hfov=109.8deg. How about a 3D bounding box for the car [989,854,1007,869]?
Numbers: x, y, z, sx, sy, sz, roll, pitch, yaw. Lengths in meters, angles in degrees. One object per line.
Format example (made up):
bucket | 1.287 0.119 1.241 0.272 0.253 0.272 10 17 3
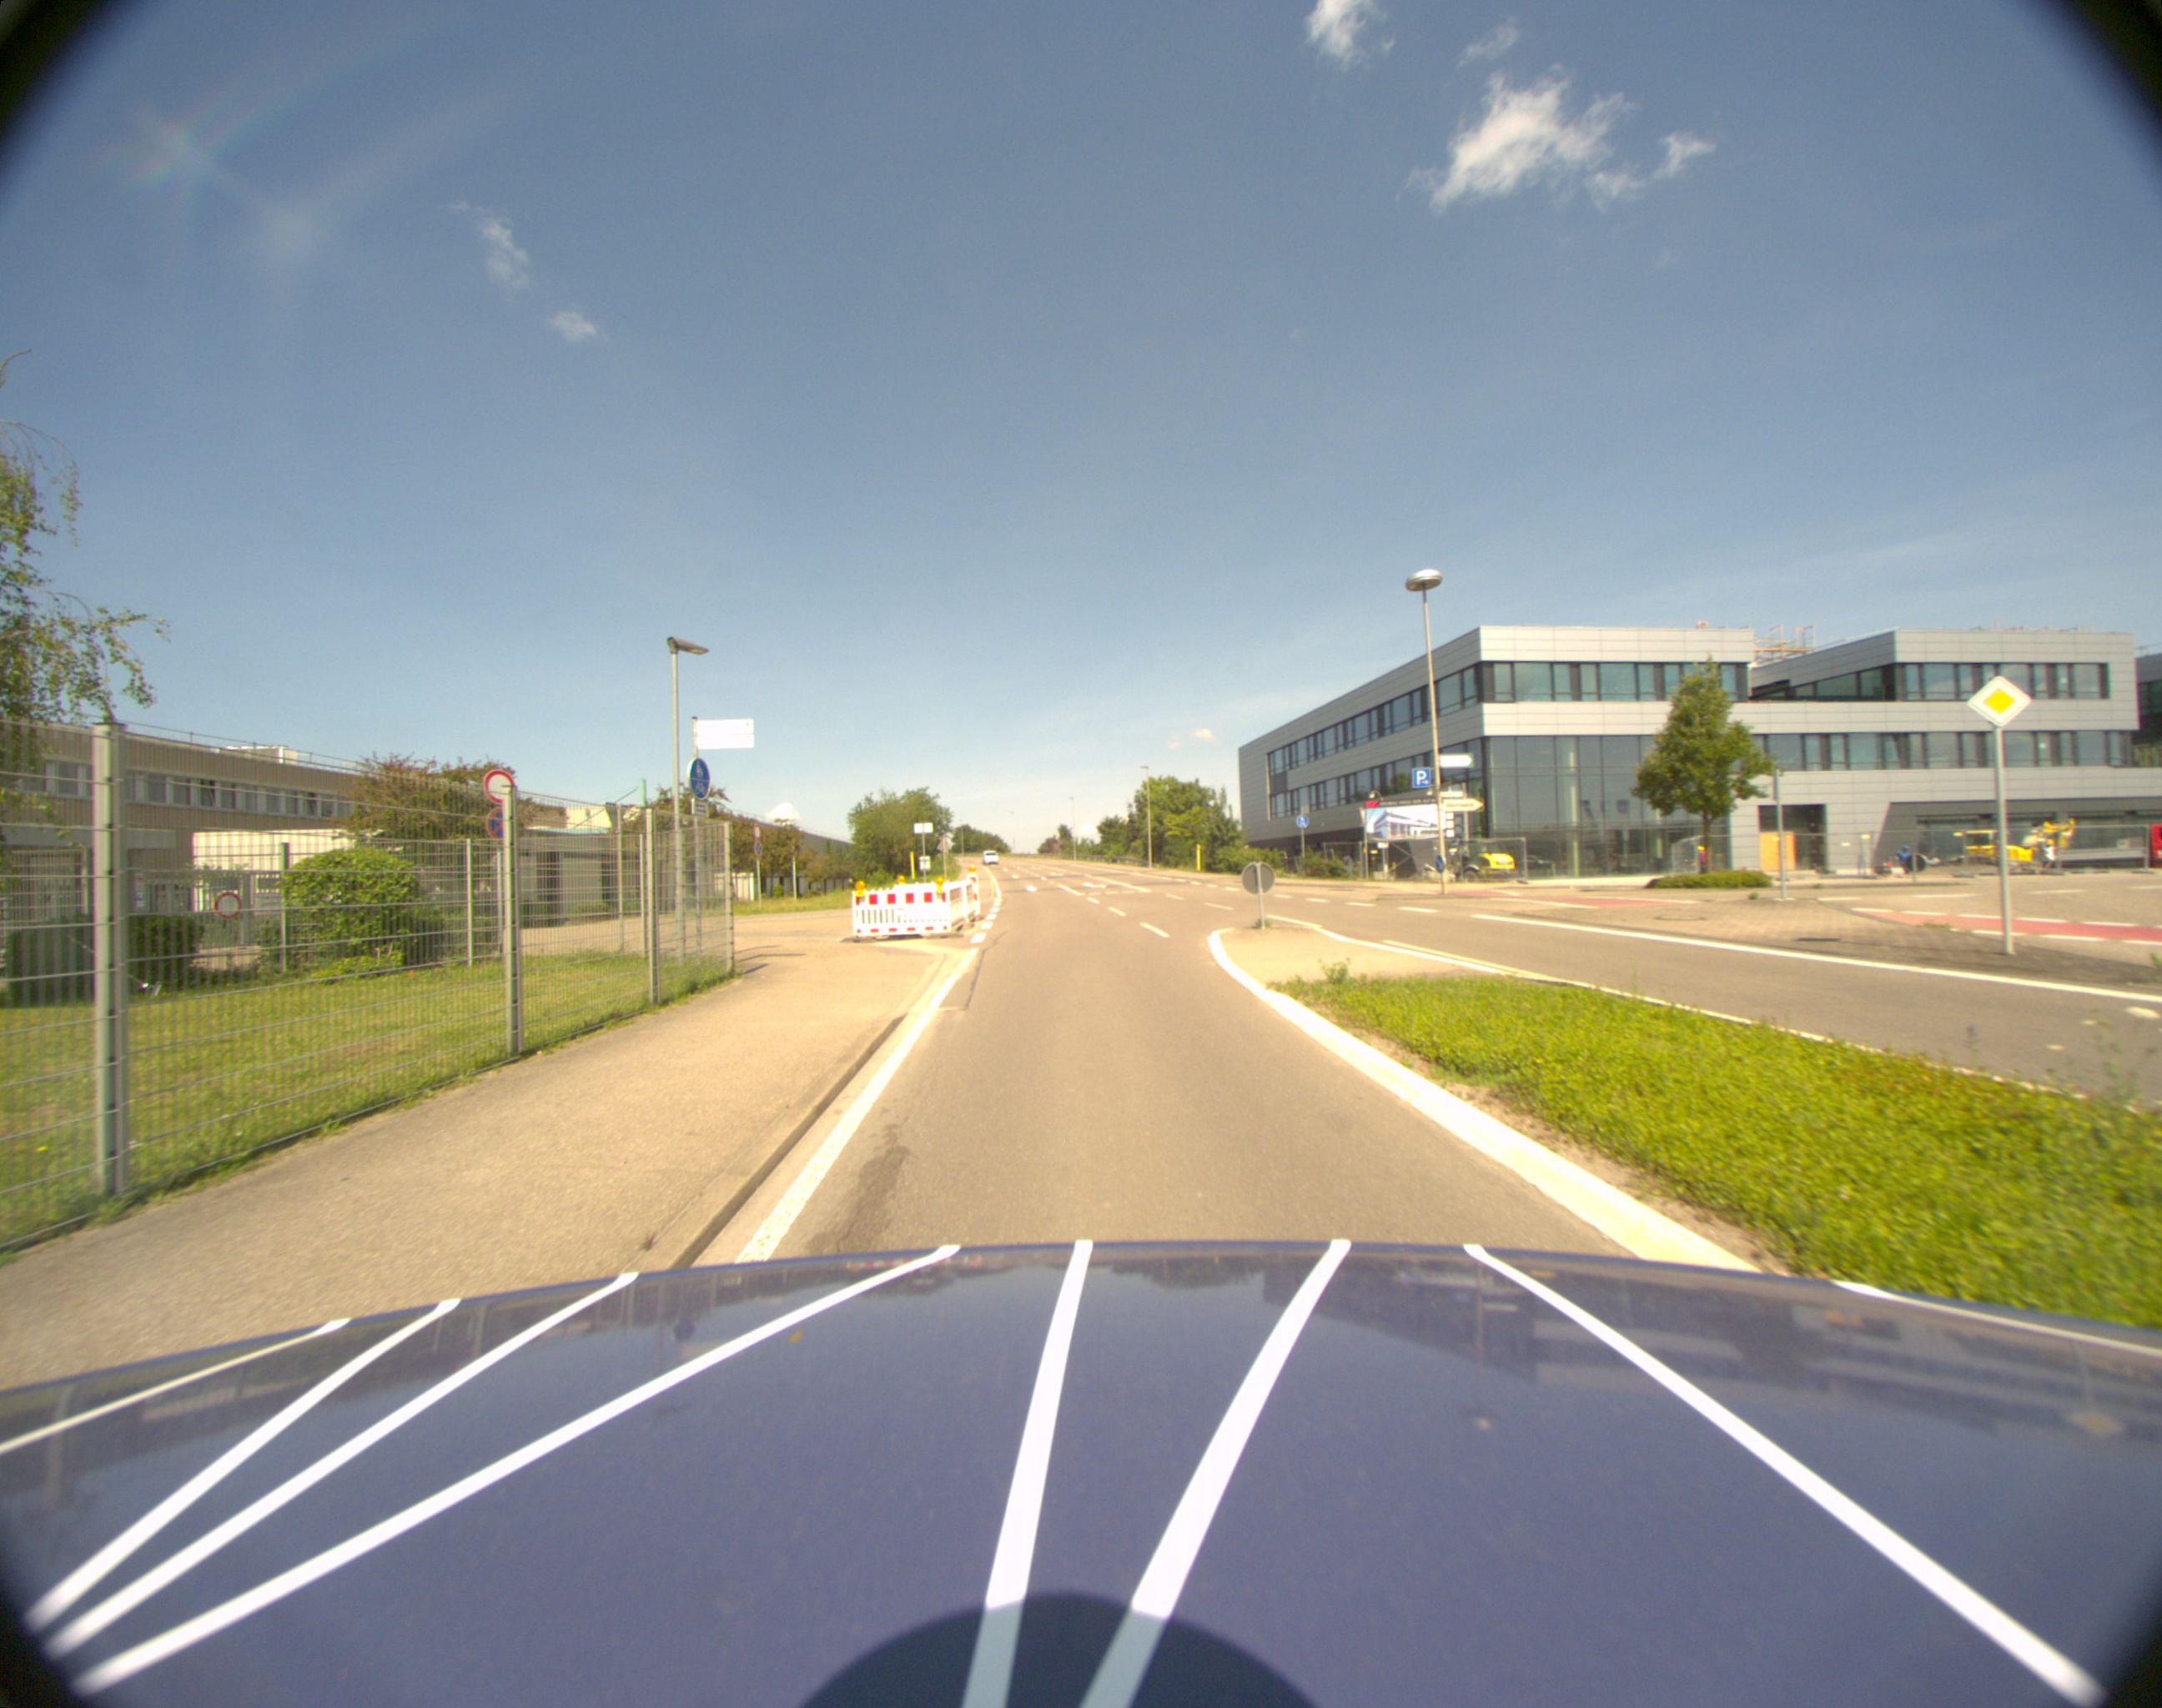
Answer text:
car | -11.245 0.974 102.493 2.000 1.903 3.996 -2 -1 -12

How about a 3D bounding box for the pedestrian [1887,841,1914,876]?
pedestrian | 41.823 0.232 38.769 0.774 1.717 0.533 -2 0 -6

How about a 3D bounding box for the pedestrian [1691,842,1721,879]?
pedestrian | 30.397 0.315 36.964 0.782 1.717 0.774 -2 0 -9

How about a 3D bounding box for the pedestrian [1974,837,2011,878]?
pedestrian | 42.357 0.176 35.312 0.708 1.868 0.900 -2 0 -20

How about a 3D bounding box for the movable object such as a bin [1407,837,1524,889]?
movable object such as a bin | 19.541 0.470 38.984 2.173 2.395 5.454 -2 0 -15

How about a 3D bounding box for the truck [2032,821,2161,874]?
truck | 46.290 -0.276 32.878 2.375 2.221 6.140 -2 0 -31

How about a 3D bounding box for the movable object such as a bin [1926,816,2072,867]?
movable object such as a bin | 49.049 -0.657 40.624 6.383 2.437 3.379 -2 0 -24

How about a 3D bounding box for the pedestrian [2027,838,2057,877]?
pedestrian | 42.935 0.162 33.942 0.776 1.717 0.718 -2 0 -31
